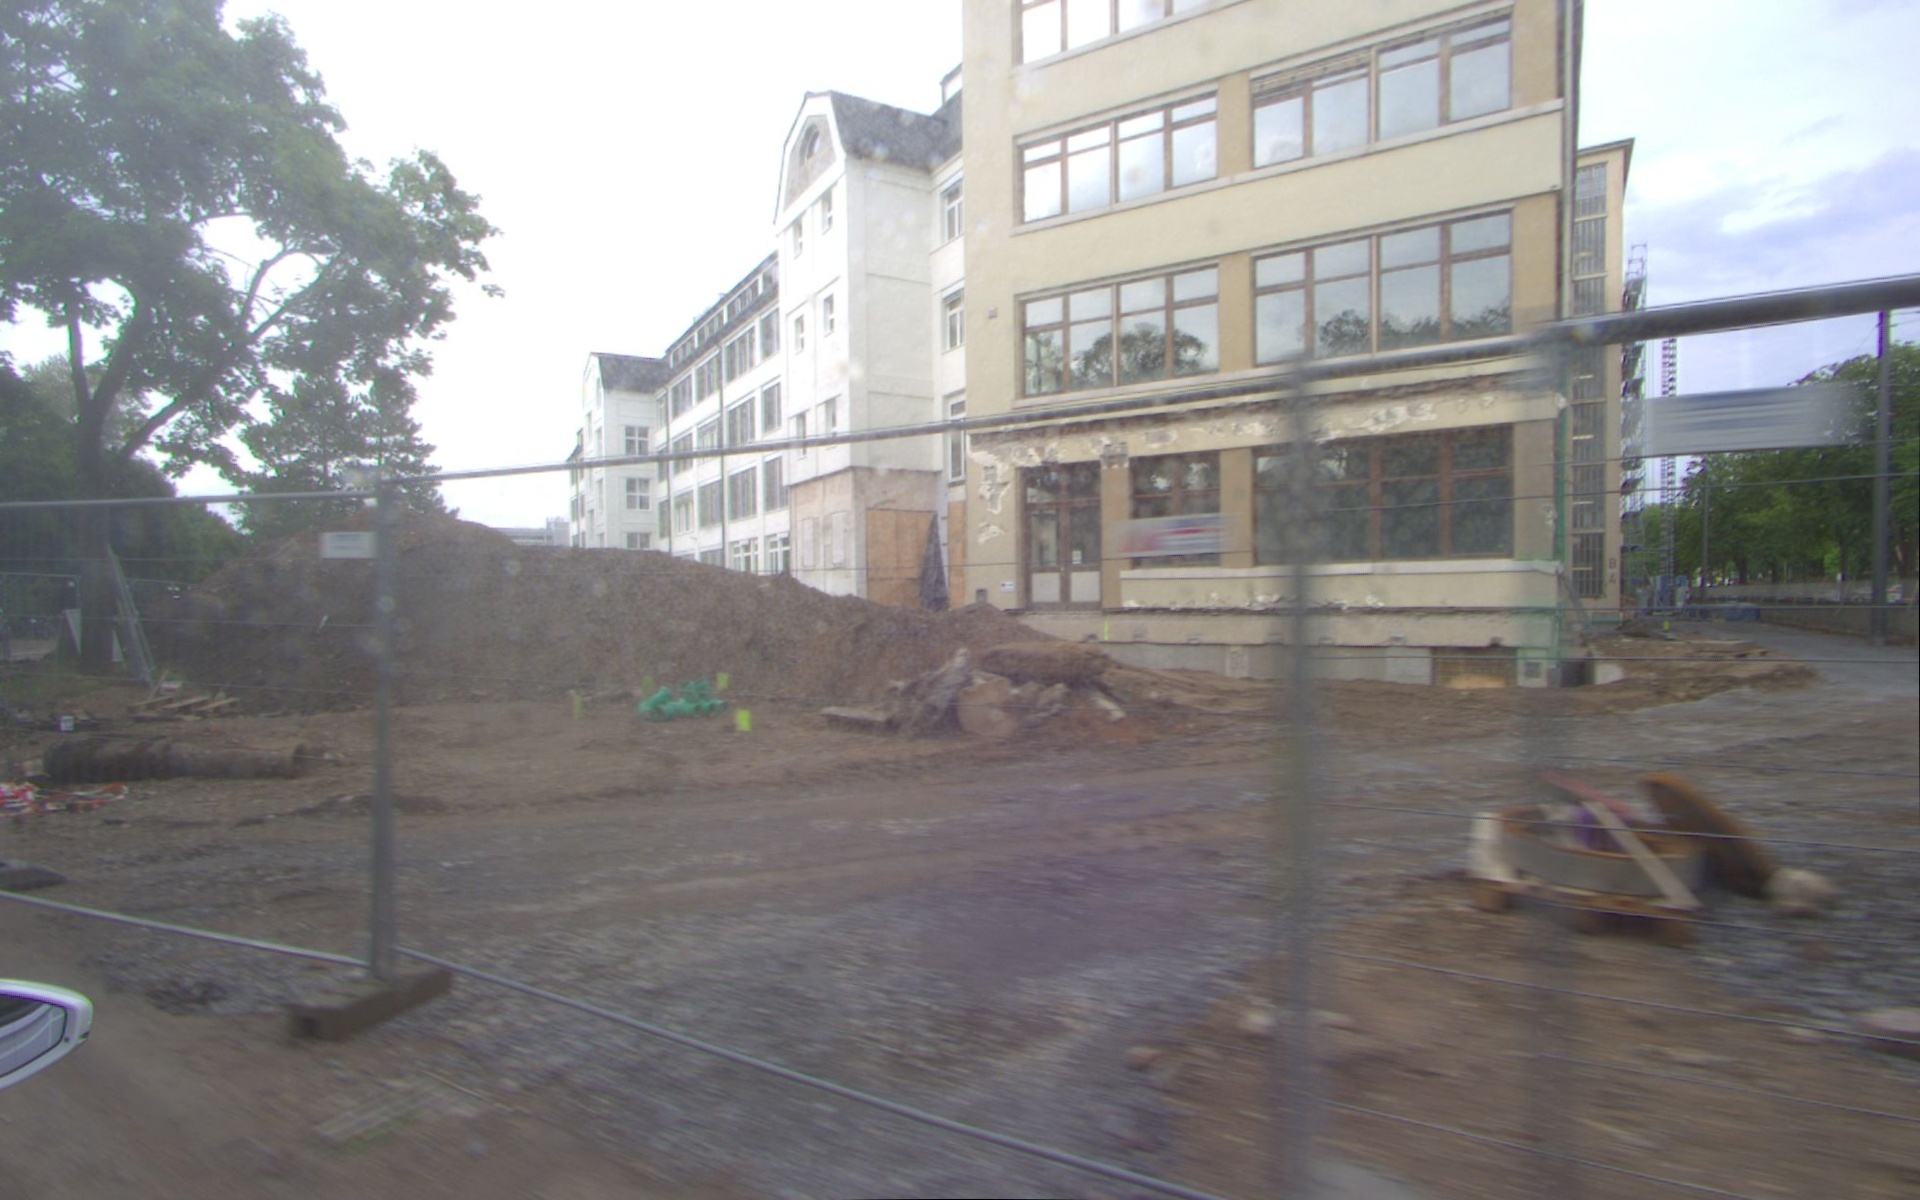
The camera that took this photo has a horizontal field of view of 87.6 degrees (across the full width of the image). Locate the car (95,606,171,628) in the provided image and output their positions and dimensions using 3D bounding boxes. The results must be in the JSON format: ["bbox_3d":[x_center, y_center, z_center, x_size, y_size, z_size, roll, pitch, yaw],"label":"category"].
[{"bbox_3d":[-61.957,1.250,75.099,1.969,1.528,3.984,0,0,28],"label":"car"}]

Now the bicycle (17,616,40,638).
[{"bbox_3d":[-44.734,1.281,48.086,0.765,0.991,2.012,0,0,-42],"label":"bicycle"}]

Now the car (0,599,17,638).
[{"bbox_3d":[-40.047,0.732,39.586,3.656,1.521,1.858,0,0,-29],"label":"car"}]

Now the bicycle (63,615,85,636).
[{"bbox_3d":[-43.555,1.251,49.228,0.765,0.991,2.012,0,0,-42],"label":"bicycle"}]
